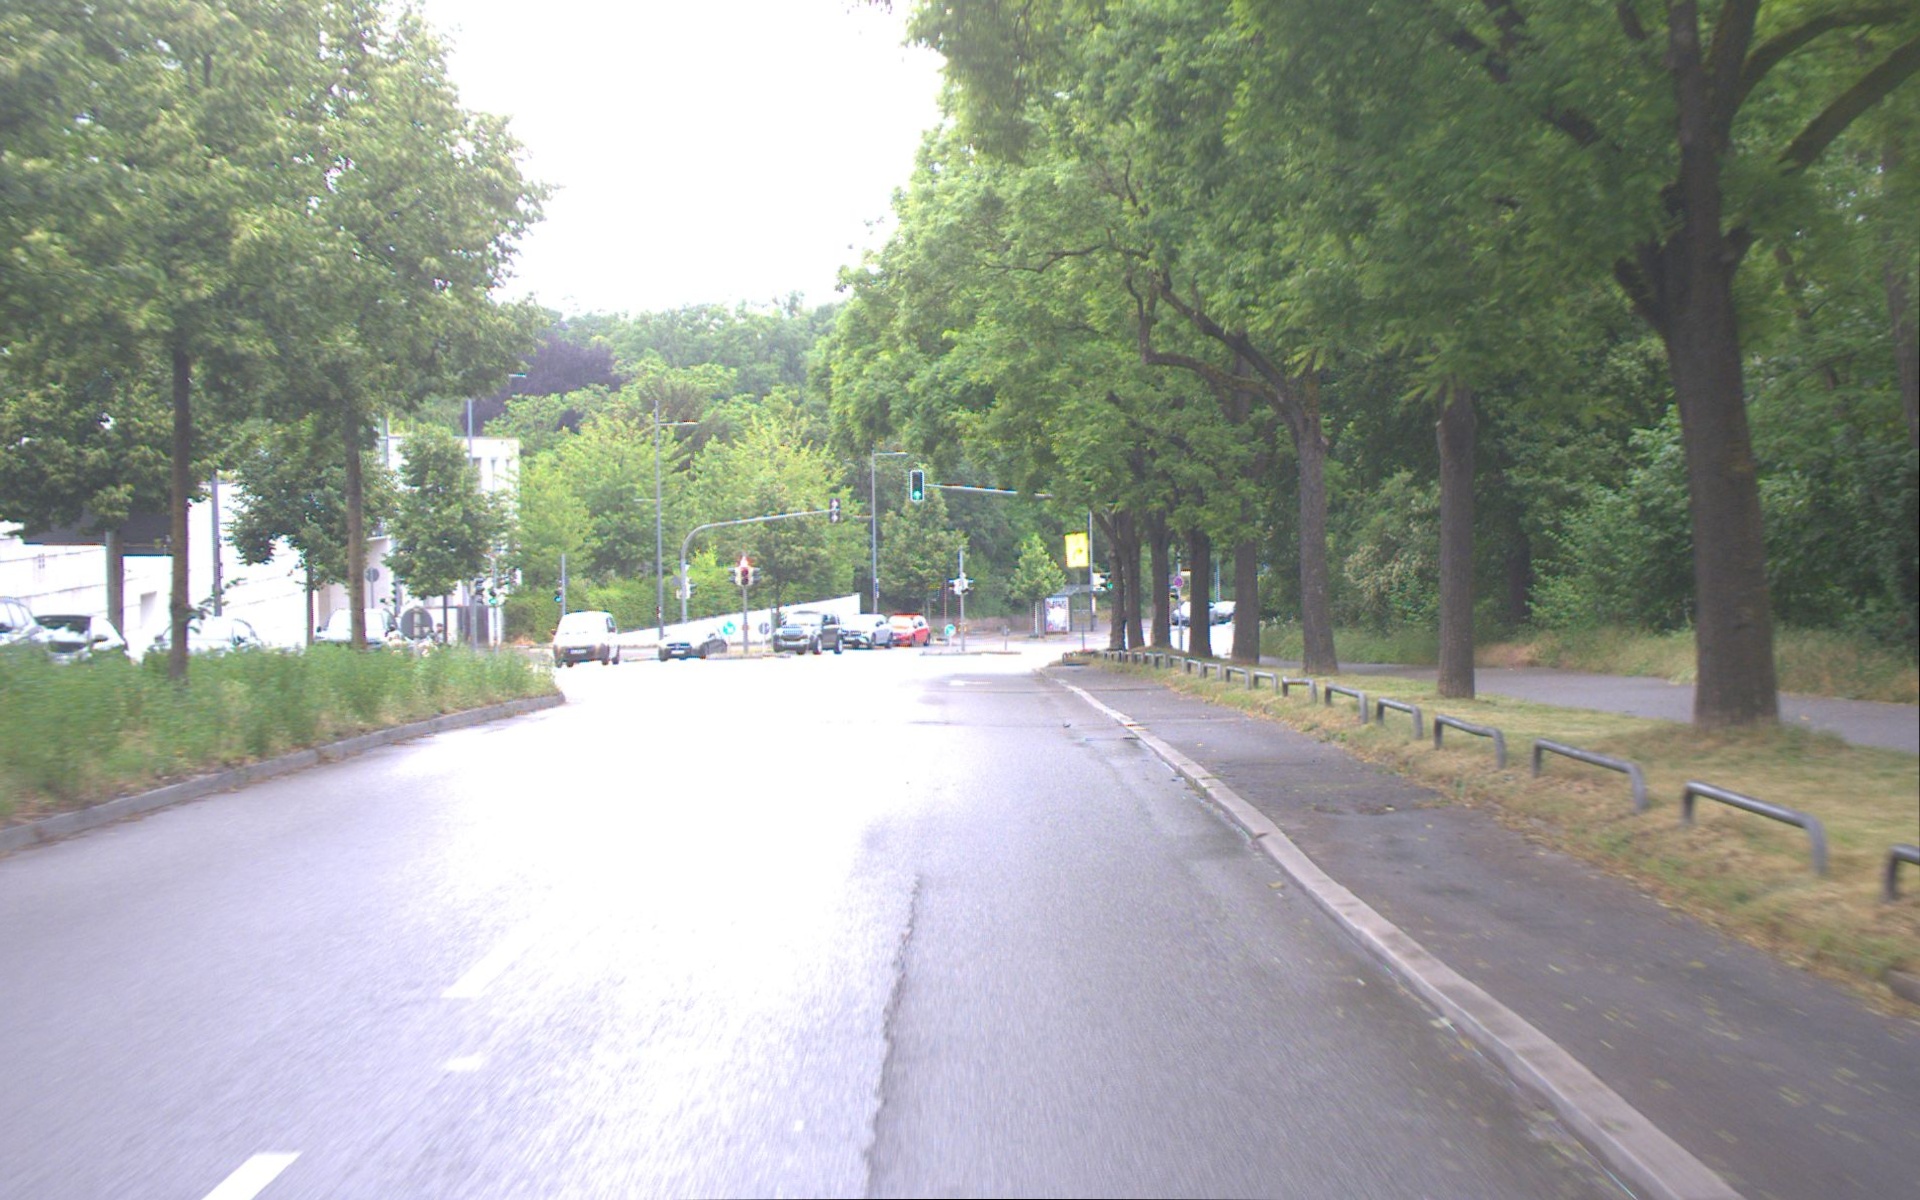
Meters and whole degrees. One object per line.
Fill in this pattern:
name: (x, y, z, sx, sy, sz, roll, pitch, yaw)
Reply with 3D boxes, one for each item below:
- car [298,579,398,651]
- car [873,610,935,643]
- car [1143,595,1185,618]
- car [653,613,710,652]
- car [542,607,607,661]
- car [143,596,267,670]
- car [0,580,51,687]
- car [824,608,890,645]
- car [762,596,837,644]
car: (-15.655, 0.399, 88.133, 1.856, 1.775, 4.597, -1, -1, -1)
car: (-2.764, 1.310, 170.488, 1.876, 1.569, 4.219, 2, 0, 15)
car: (13.217, 0.427, 222.478, 1.714, 1.456, 3.746, 0, -1, 19)
car: (-10.497, 1.234, 129.896, 1.770, 1.376, 4.190, -2, -1, 0)
car: (-12.648, 1.106, 112.953, 1.710, 1.740, 4.338, -1, 0, -1)
car: (-15.172, 0.668, 69.277, 1.679, 1.421, 3.965, 1, -1, -1)
car: (-15.289, 0.516, 52.393, 1.703, 1.615, 4.362, 0, -1, 0)
car: (-4.896, 1.259, 163.648, 1.854, 1.634, 4.090, 3, 1, 17)
car: (-6.844, 0.828, 146.905, 1.921, 1.851, 4.503, -4, -1, 13)
